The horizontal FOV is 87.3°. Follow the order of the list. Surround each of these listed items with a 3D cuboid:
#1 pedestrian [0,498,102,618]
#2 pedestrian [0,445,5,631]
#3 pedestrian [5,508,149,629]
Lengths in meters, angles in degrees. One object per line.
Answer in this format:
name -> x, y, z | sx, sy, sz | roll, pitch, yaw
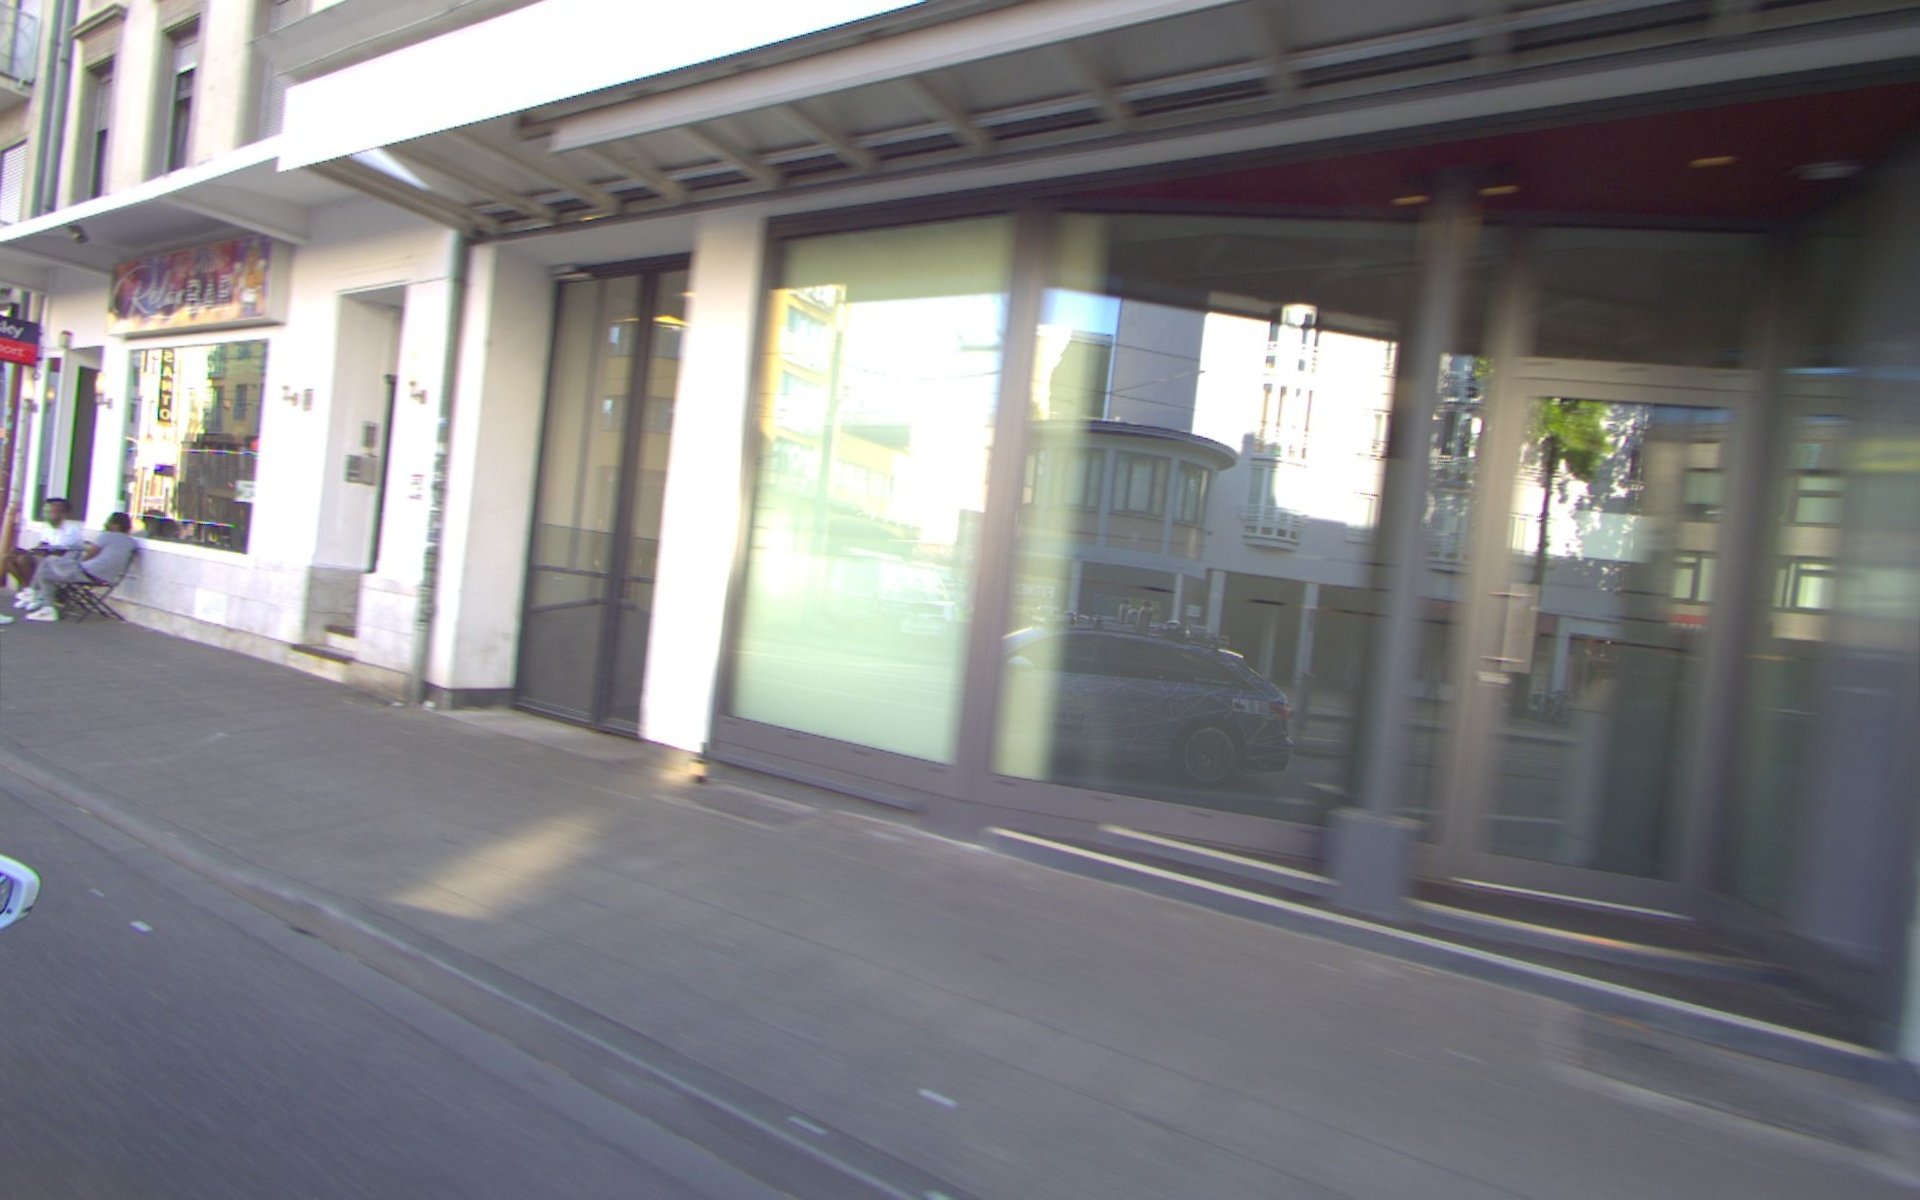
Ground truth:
pedestrian -> -10.392, -0.484, 11.362 | 0.694, 1.274, 0.829 | 3, 5, -3
pedestrian -> -9.868, -0.638, 9.845 | 0.701, 1.839, 0.671 | -1, 7, -42
pedestrian -> -9.482, -0.346, 10.826 | 0.996, 1.192, 0.706 | 5, 5, 13
